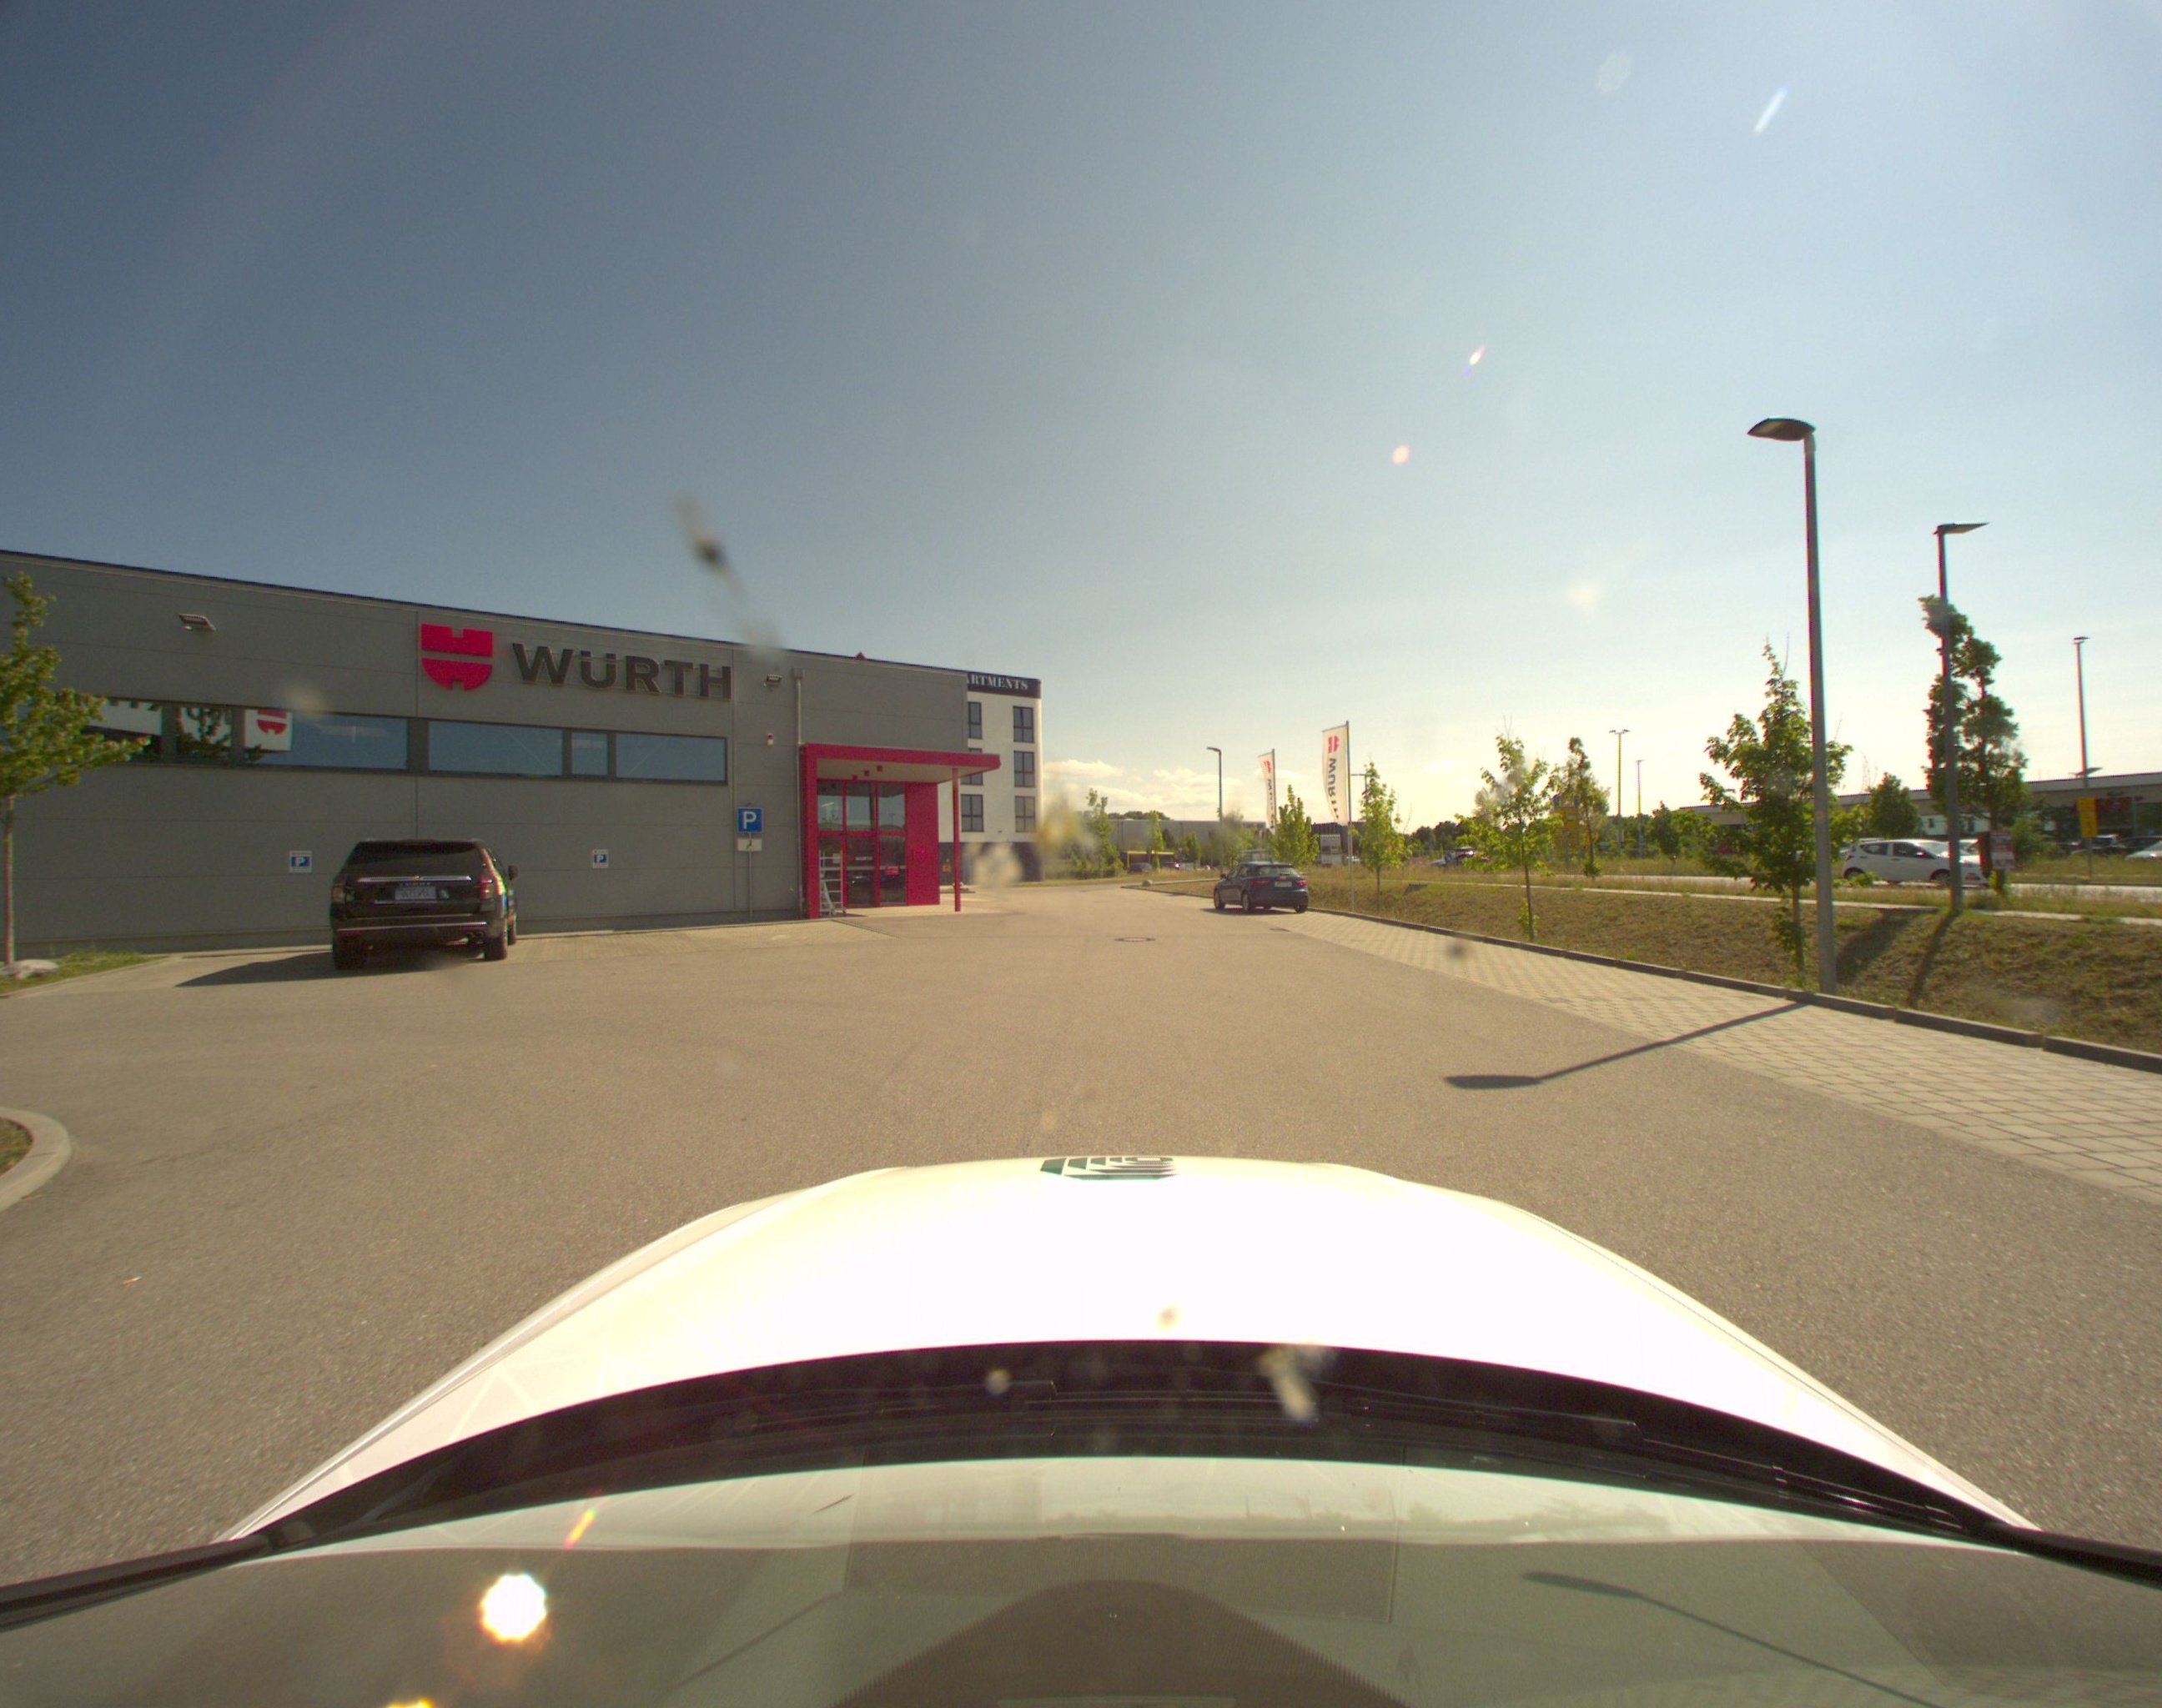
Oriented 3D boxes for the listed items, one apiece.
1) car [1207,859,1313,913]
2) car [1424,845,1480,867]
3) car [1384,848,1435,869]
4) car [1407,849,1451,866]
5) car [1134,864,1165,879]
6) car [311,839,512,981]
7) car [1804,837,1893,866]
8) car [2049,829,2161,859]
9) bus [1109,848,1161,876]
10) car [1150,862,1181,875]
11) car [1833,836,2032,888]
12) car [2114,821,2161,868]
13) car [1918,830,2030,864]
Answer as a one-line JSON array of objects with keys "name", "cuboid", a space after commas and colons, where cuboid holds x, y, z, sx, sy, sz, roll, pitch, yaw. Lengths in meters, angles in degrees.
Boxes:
[{"name": "car", "cuboid": [5.063, 0.850, 23.549, 1.698, 1.406, 3.885, -1, 0, -9]}, {"name": "car", "cuboid": [27.346, 0.139, 60.093, 3.670, 1.598, 1.702, -1, 0, -23]}, {"name": "car", "cuboid": [26.469, 0.390, 65.711, 3.670, 1.598, 1.702, -1, 0, -23]}, {"name": "car", "cuboid": [31.411, 0.309, 73.468, 3.724, 1.395, 1.576, -1, 0, -27]}, {"name": "car", "cuboid": [6.895, 1.720, 82.195, 1.722, 1.443, 3.682, -1, 0, -22]}, {"name": "car", "cuboid": [-10.709, 0.752, 13.413, 2.086, 1.880, 4.827, -1, 0, -34]}, {"name": "car", "cuboid": [45.169, -0.151, 47.973, 3.650, 1.618, 1.838, -1, 0, -4]}, {"name": "car", "cuboid": [58.204, -0.554, 46.277, 1.904, 1.618, 3.663, -1, 0, -15]}, {"name": "bus", "cuboid": [7.449, 0.961, 109.957, 2.543, 3.557, 11.319, -1, 0, 27]}, {"name": "car", "cuboid": [9.638, 1.640, 93.104, 1.658, 1.385, 3.476, -1, 0, -33]}, {"name": "car", "cuboid": [26.350, 0.226, 25.408, 1.870, 1.483, 3.992, -1, 0, -6]}, {"name": "car", "cuboid": [48.818, -0.455, 35.974, 5.066, 2.013, 1.991, -1, 0, -14]}, {"name": "car", "cuboid": [47.470, -0.364, 43.325, 4.410, 1.726, 1.993, -1, 0, -10]}]
